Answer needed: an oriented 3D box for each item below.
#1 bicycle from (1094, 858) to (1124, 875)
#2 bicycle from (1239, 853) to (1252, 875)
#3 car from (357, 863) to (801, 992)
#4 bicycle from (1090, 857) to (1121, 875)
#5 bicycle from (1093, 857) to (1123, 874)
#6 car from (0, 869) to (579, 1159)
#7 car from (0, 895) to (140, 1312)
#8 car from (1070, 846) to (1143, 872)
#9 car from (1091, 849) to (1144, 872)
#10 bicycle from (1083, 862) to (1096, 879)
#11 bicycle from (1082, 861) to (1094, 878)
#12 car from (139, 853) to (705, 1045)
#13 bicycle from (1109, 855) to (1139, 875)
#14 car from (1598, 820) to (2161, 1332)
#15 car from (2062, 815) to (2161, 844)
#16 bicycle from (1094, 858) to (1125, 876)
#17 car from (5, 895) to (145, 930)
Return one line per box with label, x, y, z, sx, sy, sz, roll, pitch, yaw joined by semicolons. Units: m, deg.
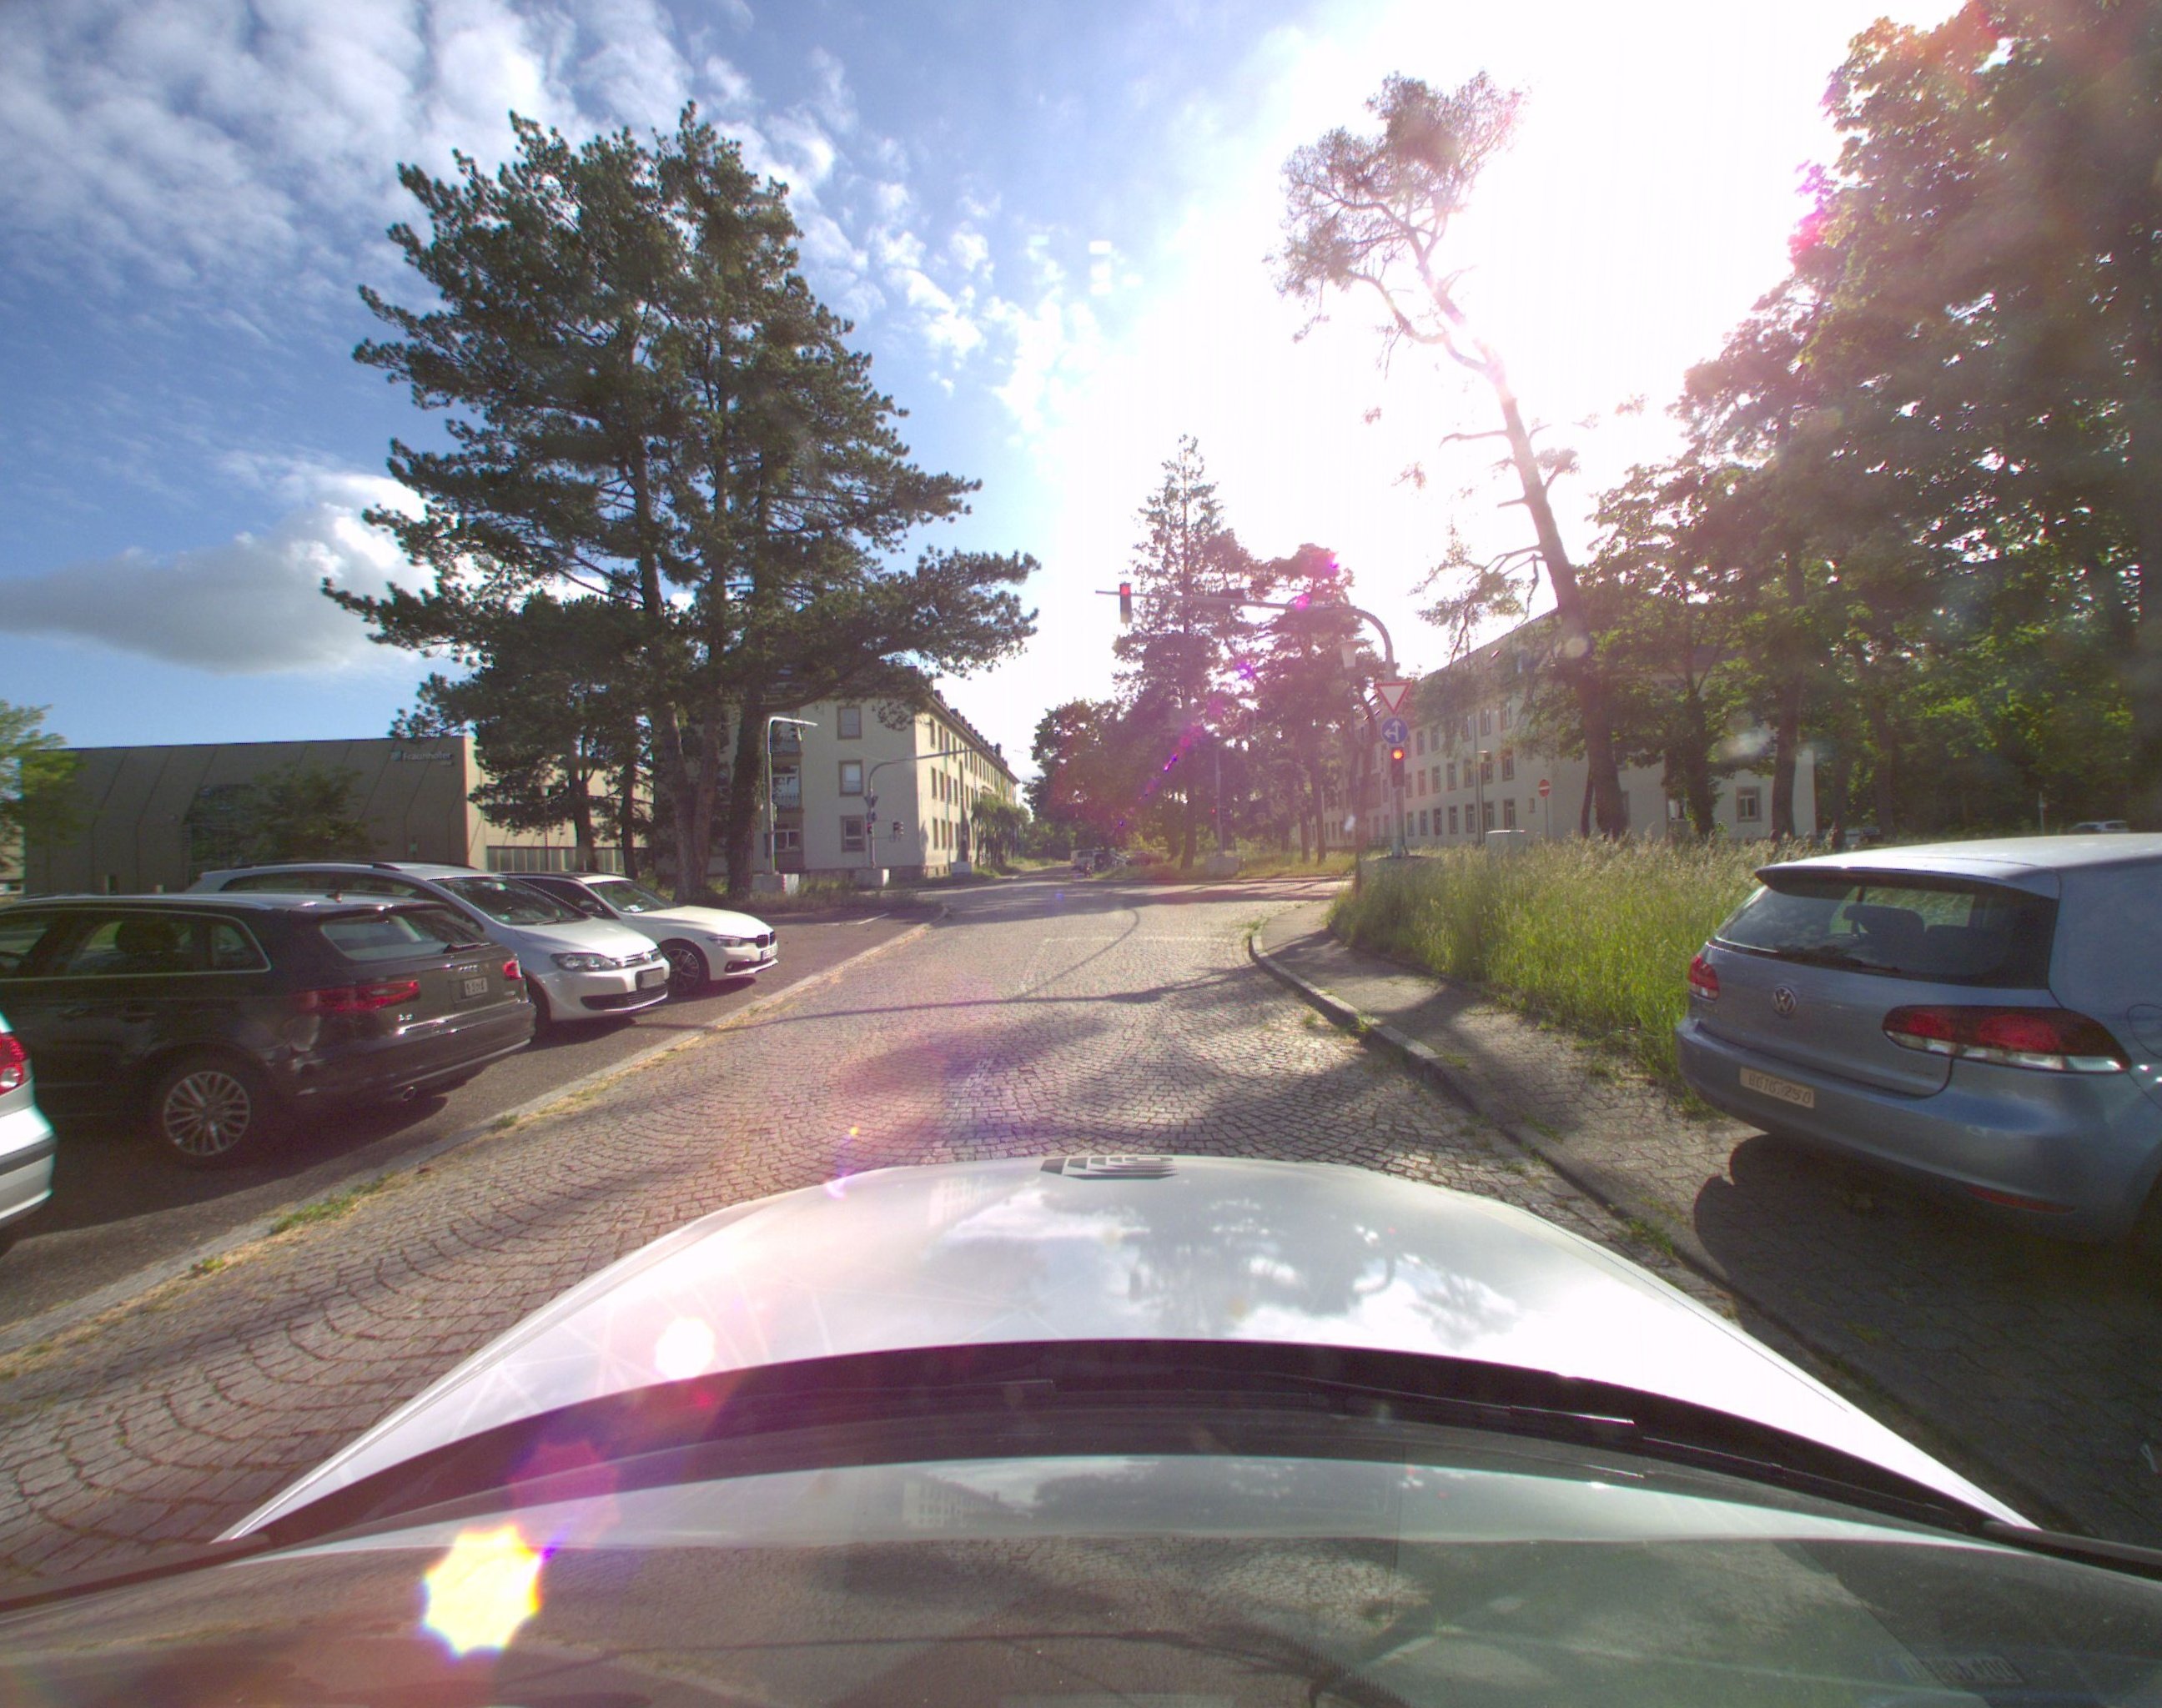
bicycle;1.792;0.811;52.176;1.850;1.031;0.749;-2;0;-3
bicycle;8.066;0.496;40.012;0.464;1.080;1.175;-2;-1;4
car;-6.161;0.879;10.426;4.529;1.467;1.751;0;0;-2
bicycle;1.627;0.817;54.190;1.951;1.129;0.642;-2;0;-26
bicycle;1.806;0.769;55.301;1.937;1.129;0.646;-2;0;-5
car;-5.639;0.873;5.176;3.785;1.471;1.687;1;0;-1
car;-5.594;0.887;2.461;3.456;1.471;1.635;1;0;-2
car;2.154;0.448;70.132;5.924;2.013;2.470;-2;0;-7
car;2.913;0.535;65.927;3.983;1.684;1.843;-2;0;-7
bicycle;0.480;0.956;48.687;0.693;0.971;1.859;-1;0;-1
bicycle;0.439;0.952;50.635;0.693;0.971;1.859;-1;0;-1
car;-6.040;0.825;7.893;3.936;1.626;1.720;1;0;-4
bicycle;2.820;0.710;53.672;1.936;1.235;0.485;-2;0;-3
car;4.749;0.596;3.364;4.002;1.460;1.871;-3;0;0
car;58.044;-1.349;45.657;3.977;1.464;1.845;-2;0;-3
bicycle;1.875;0.853;52.973;1.936;1.129;0.749;-2;0;-3
car;-47.830;2.757;38.867;1.481;1.294;4.054;-2;0;3
